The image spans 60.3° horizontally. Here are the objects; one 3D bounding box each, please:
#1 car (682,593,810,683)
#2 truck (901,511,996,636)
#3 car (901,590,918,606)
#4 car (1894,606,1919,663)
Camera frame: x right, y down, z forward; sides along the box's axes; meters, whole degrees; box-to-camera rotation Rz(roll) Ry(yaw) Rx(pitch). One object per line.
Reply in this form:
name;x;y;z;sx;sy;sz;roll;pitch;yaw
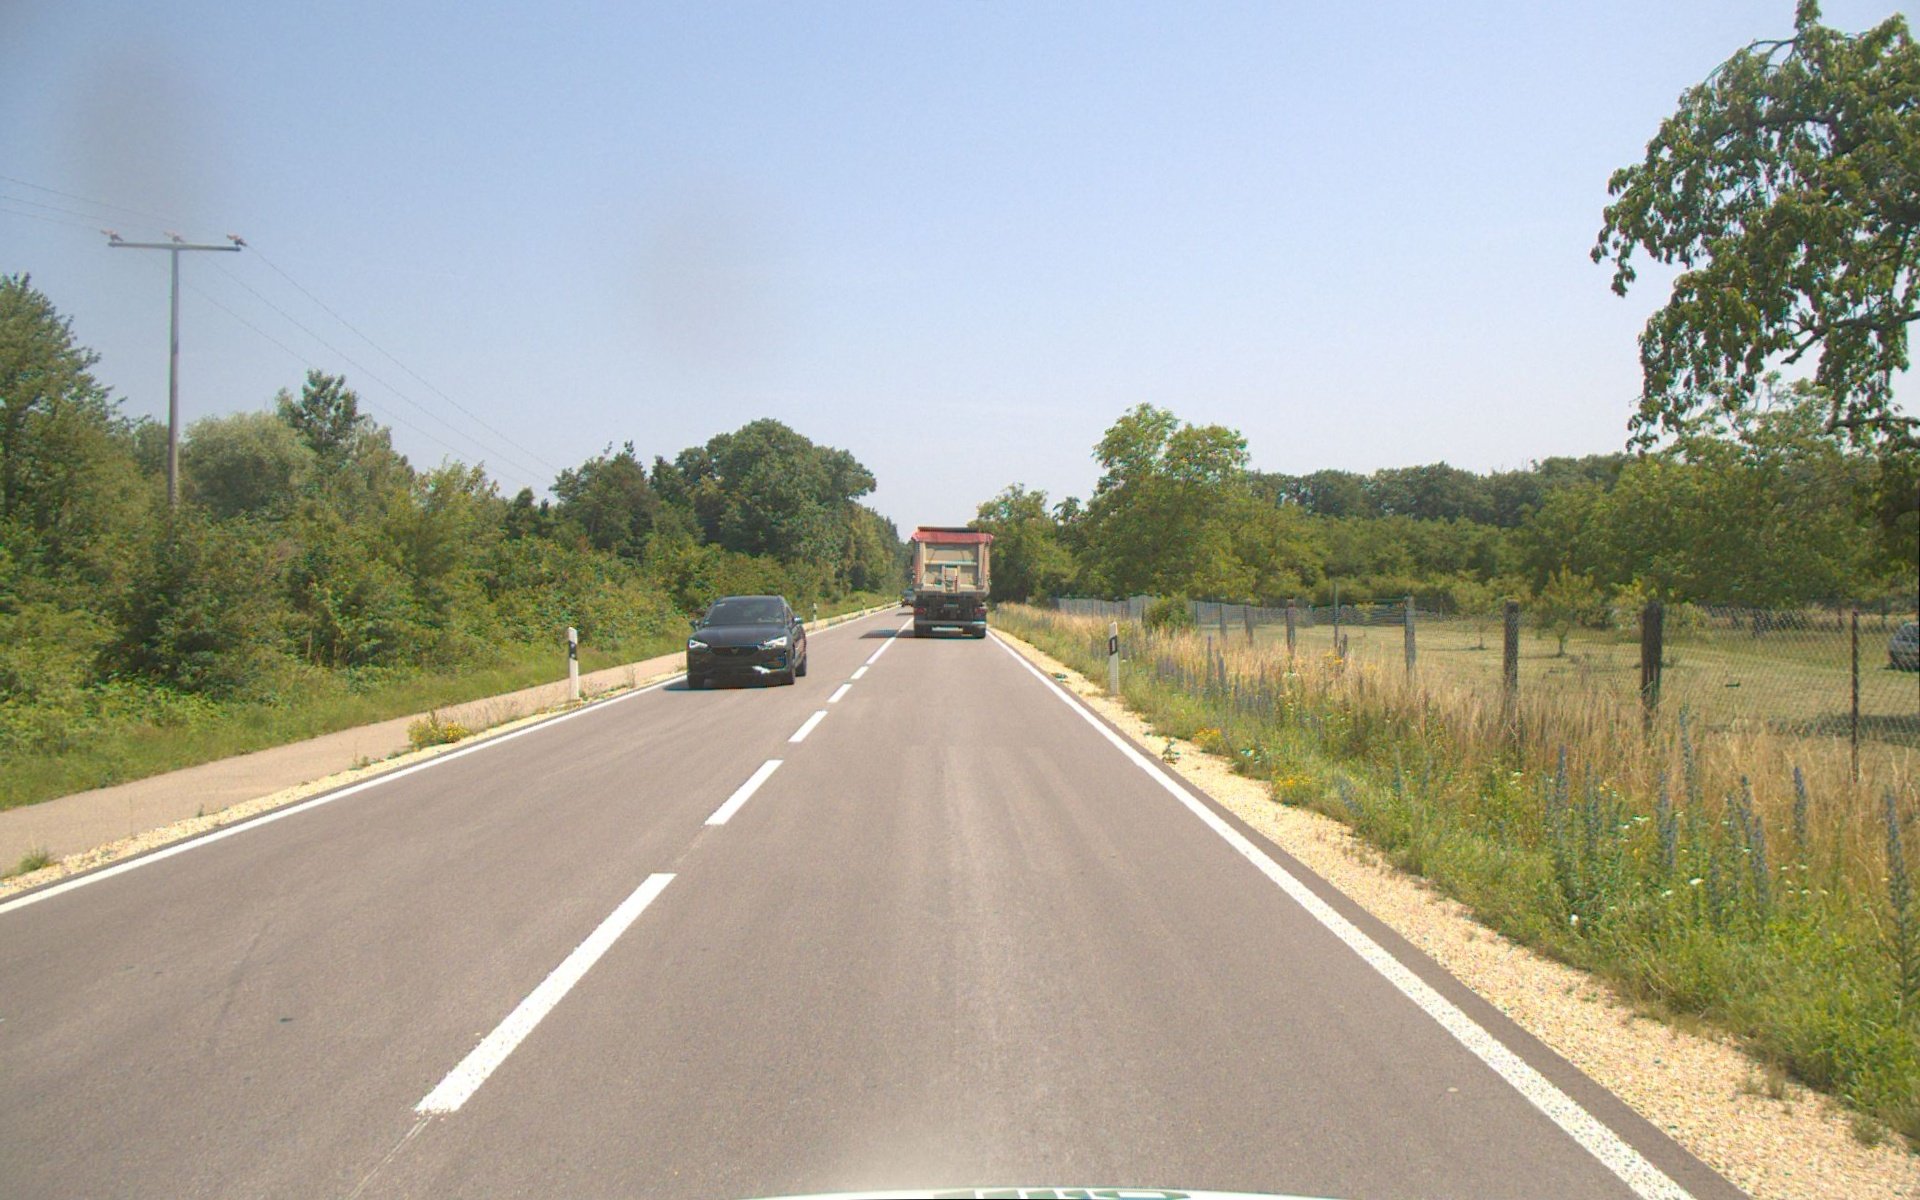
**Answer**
car;-3.621;0.596;28.622;1.722;1.381;4.045;-2;0;-1
truck;-0.461;-0.867;59.475;2.948;3.942;12.206;2;0;-1
car;-5.333;-0.218;175.593;1.722;1.567;4.045;-2;0;-1
car;26.447;0.941;43.434;1.563;1.512;3.421;0;1;-9
